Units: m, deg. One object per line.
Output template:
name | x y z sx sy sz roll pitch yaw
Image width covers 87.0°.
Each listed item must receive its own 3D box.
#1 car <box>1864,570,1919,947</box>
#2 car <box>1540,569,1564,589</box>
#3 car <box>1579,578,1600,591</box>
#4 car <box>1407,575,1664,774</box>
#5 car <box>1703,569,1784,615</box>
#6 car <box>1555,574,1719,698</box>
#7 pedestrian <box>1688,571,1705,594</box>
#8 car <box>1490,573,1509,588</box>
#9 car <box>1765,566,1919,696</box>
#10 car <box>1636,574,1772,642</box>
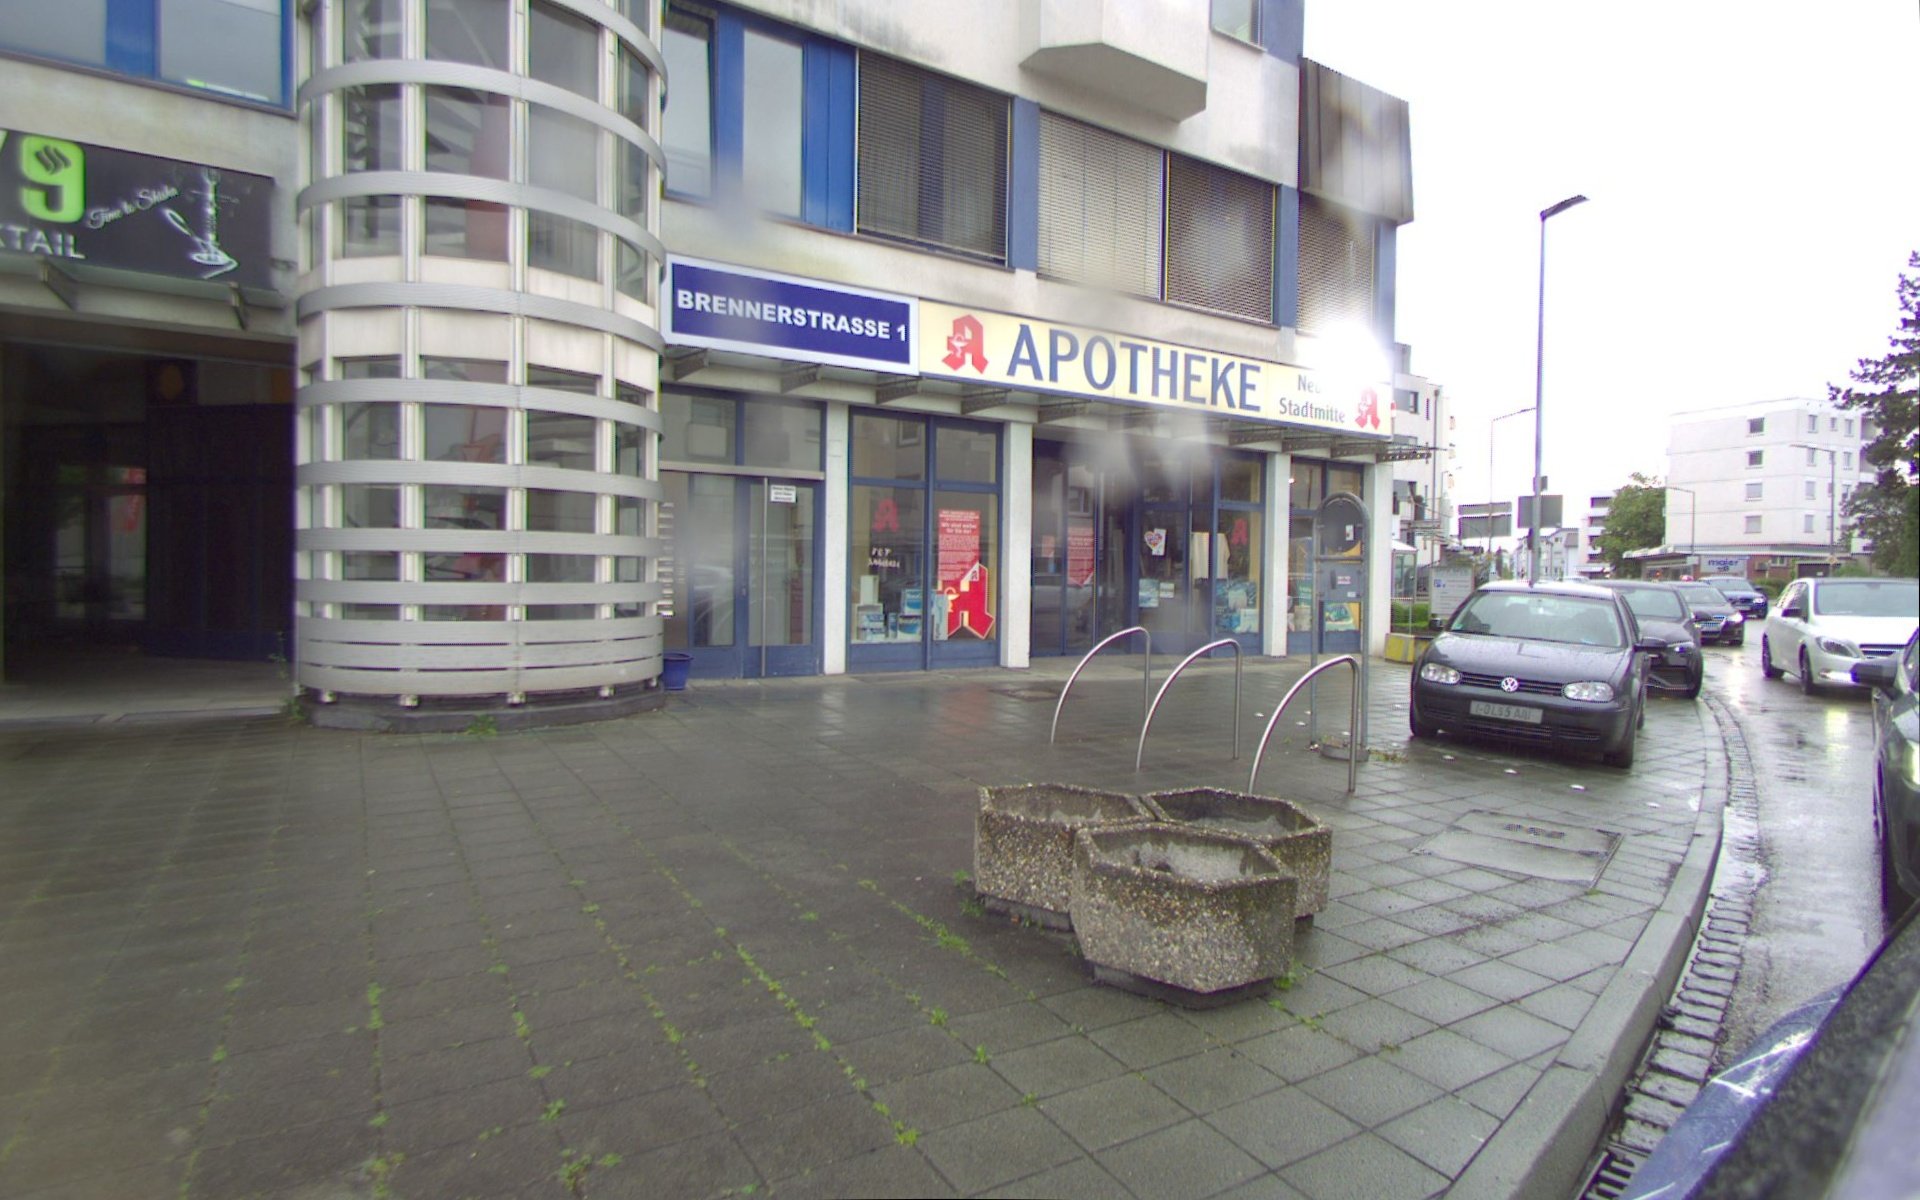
car | 5.731 0.601 5.011 1.728 1.462 3.989 1 2 40
car | 51.599 -1.858 88.217 1.730 1.660 3.959 1 2 30
car | 73.384 -1.848 118.003 1.855 1.454 3.705 1 2 28
car | 5.505 0.506 9.459 1.646 1.388 3.683 4 4 36
car | 27.180 -0.330 35.208 1.737 1.472 3.773 1 3 31
car | 9.444 0.375 14.062 1.650 1.442 3.949 2 2 36
pedestrian | 58.714 -1.408 80.707 0.845 1.757 0.831 1 2 20
car | 60.860 -2.235 114.192 1.729 1.660 3.963 1 2 27
car | 12.527 0.352 13.891 1.721 1.547 4.019 1 1 30
car | 17.507 0.114 24.020 1.783 1.385 3.941 1 3 25
